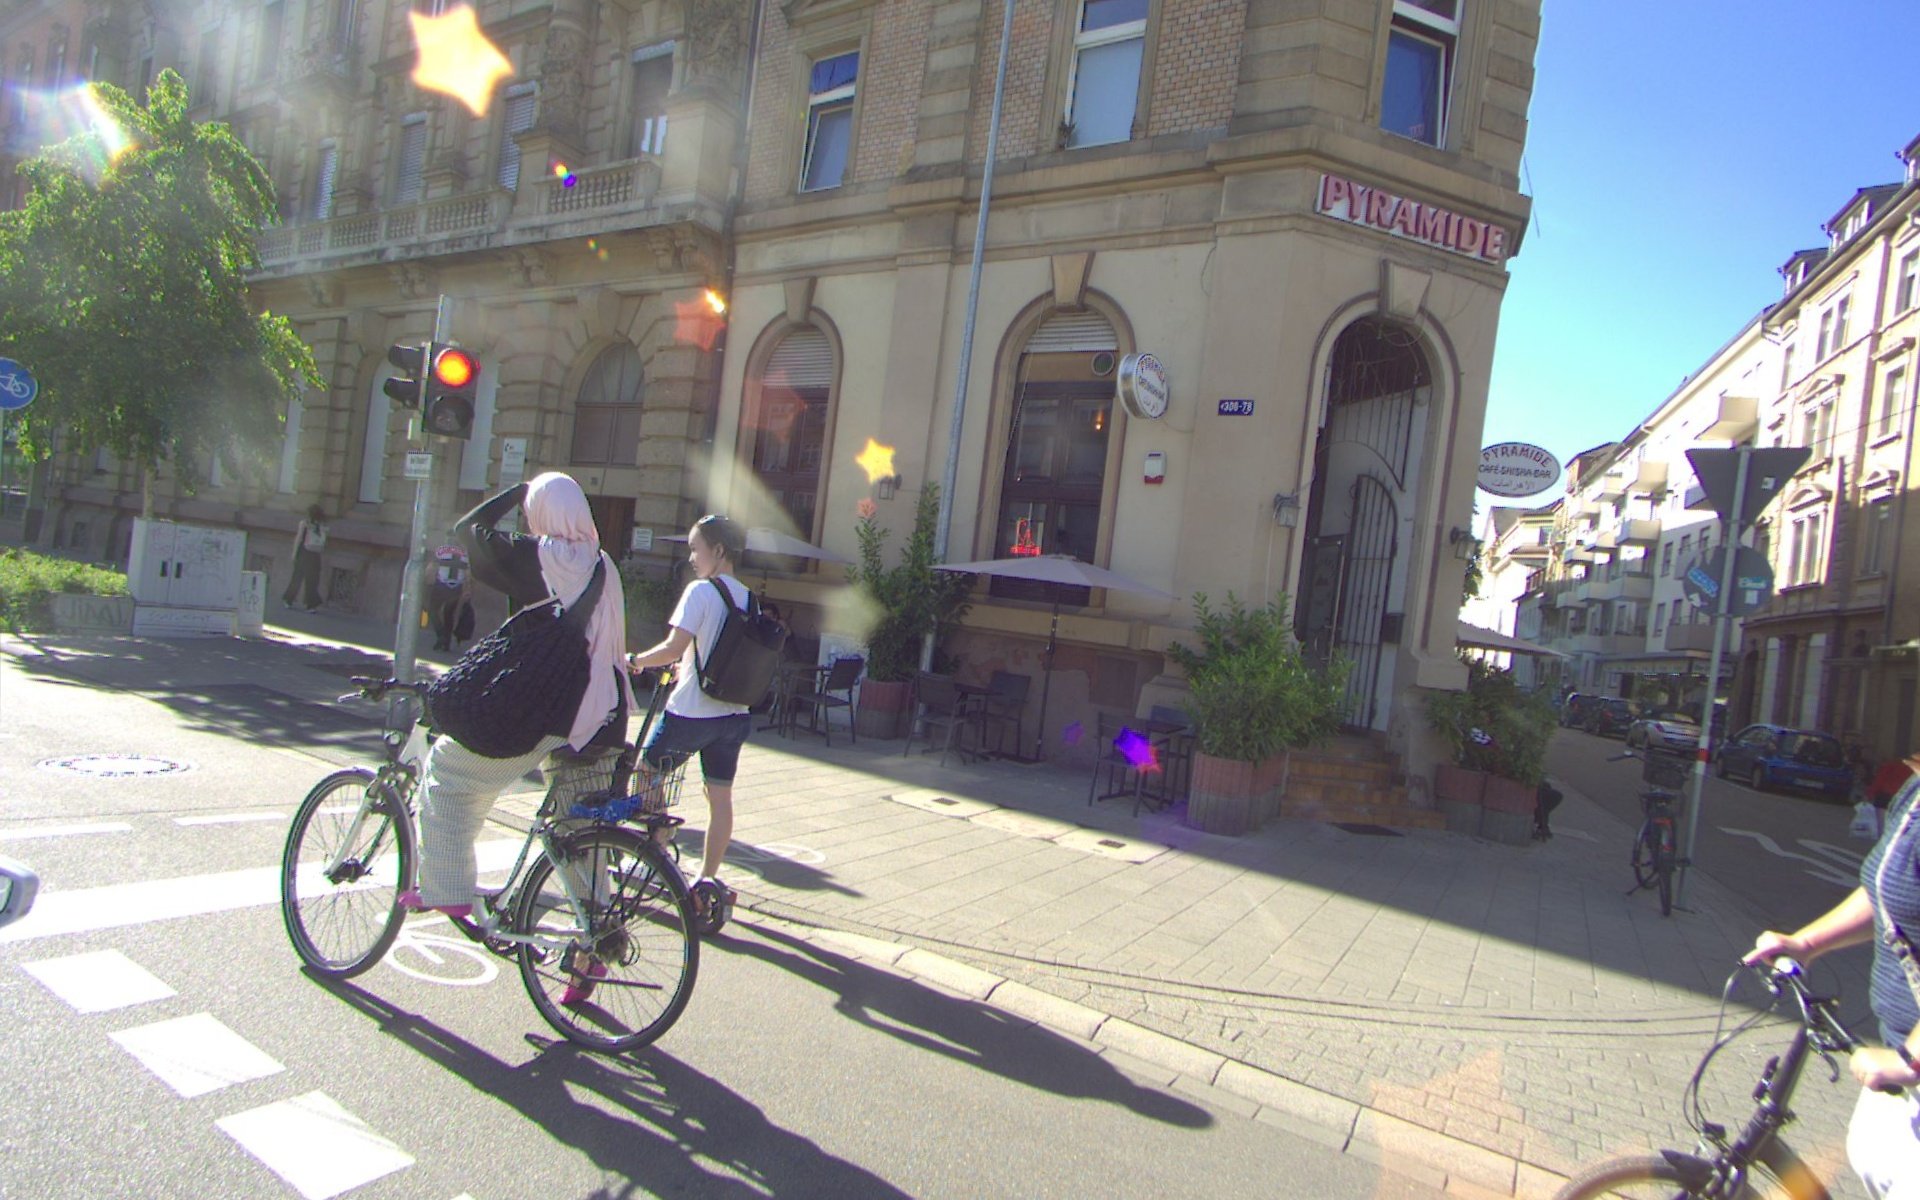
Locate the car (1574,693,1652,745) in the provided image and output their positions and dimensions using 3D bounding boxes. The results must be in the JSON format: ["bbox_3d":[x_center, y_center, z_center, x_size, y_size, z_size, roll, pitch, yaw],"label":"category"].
[{"bbox_3d":[23.866,4.309,36.880,1.599,1.424,3.439,9,1,22],"label":"car"}]

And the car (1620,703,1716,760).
[{"bbox_3d":[21.466,3.958,30.606,1.600,1.337,3.389,7,-1,24],"label":"car"}]

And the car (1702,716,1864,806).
[{"bbox_3d":[18.393,3.533,22.688,1.587,1.428,3.703,7,-1,21],"label":"car"}]

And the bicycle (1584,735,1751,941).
[{"bbox_3d":[5.778,1.822,8.177,0.804,1.247,2.211,11,2,38],"label":"bicycle"}]

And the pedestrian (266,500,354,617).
[{"bbox_3d":[-11.624,-0.746,17.983,1.081,1.945,0.889,7,2,37],"label":"pedestrian"}]

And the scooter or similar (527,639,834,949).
[{"bbox_3d":[-1.323,0.855,4.787,1.130,1.172,0.647,7,-1,26],"label":"scooter or similar"}]

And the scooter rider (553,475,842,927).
[{"bbox_3d":[-1.232,0.433,4.775,0.882,1.888,0.663,7,-1,27],"label":"scooter rider"}]

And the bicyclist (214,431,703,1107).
[{"bbox_3d":[-1.636,0.463,3.344,1.071,1.839,0.726,7,-1,23],"label":"bicyclist"}]

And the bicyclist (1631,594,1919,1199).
[{"bbox_3d":[2.123,0.947,2.136,0.972,1.747,0.853,7,-1,32],"label":"bicyclist"}]

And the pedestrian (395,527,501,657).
[{"bbox_3d":[-7.385,-0.119,14.492,0.966,1.714,1.100,4,2,-44],"label":"pedestrian"}]

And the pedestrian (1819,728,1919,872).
[{"bbox_3d":[11.536,2.477,12.479,0.891,1.592,0.835,7,-1,4],"label":"pedestrian"}]

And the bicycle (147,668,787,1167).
[{"bbox_3d":[-1.641,0.878,3.319,1.917,1.018,0.726,7,-1,24],"label":"bicycle"}]

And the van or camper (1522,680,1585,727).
[{"bbox_3d":[30.191,5.221,51.279,1.850,1.867,4.545,9,1,22],"label":"van or camper"}]

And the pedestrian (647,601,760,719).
[{"bbox_3d":[-2.873,0.671,11.294,0.867,1.197,0.718,6,0,31],"label":"pedestrian"}]

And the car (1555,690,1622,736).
[{"bbox_3d":[25.893,4.633,41.565,1.599,1.424,3.439,9,1,22],"label":"car"}]

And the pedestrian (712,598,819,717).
[{"bbox_3d":[-2.334,0.691,12.101,0.873,1.298,0.726,6,0,31],"label":"pedestrian"}]

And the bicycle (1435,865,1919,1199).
[{"bbox_3d":[2.107,1.344,2.111,1.920,1.018,0.829,7,-1,32],"label":"bicycle"}]
